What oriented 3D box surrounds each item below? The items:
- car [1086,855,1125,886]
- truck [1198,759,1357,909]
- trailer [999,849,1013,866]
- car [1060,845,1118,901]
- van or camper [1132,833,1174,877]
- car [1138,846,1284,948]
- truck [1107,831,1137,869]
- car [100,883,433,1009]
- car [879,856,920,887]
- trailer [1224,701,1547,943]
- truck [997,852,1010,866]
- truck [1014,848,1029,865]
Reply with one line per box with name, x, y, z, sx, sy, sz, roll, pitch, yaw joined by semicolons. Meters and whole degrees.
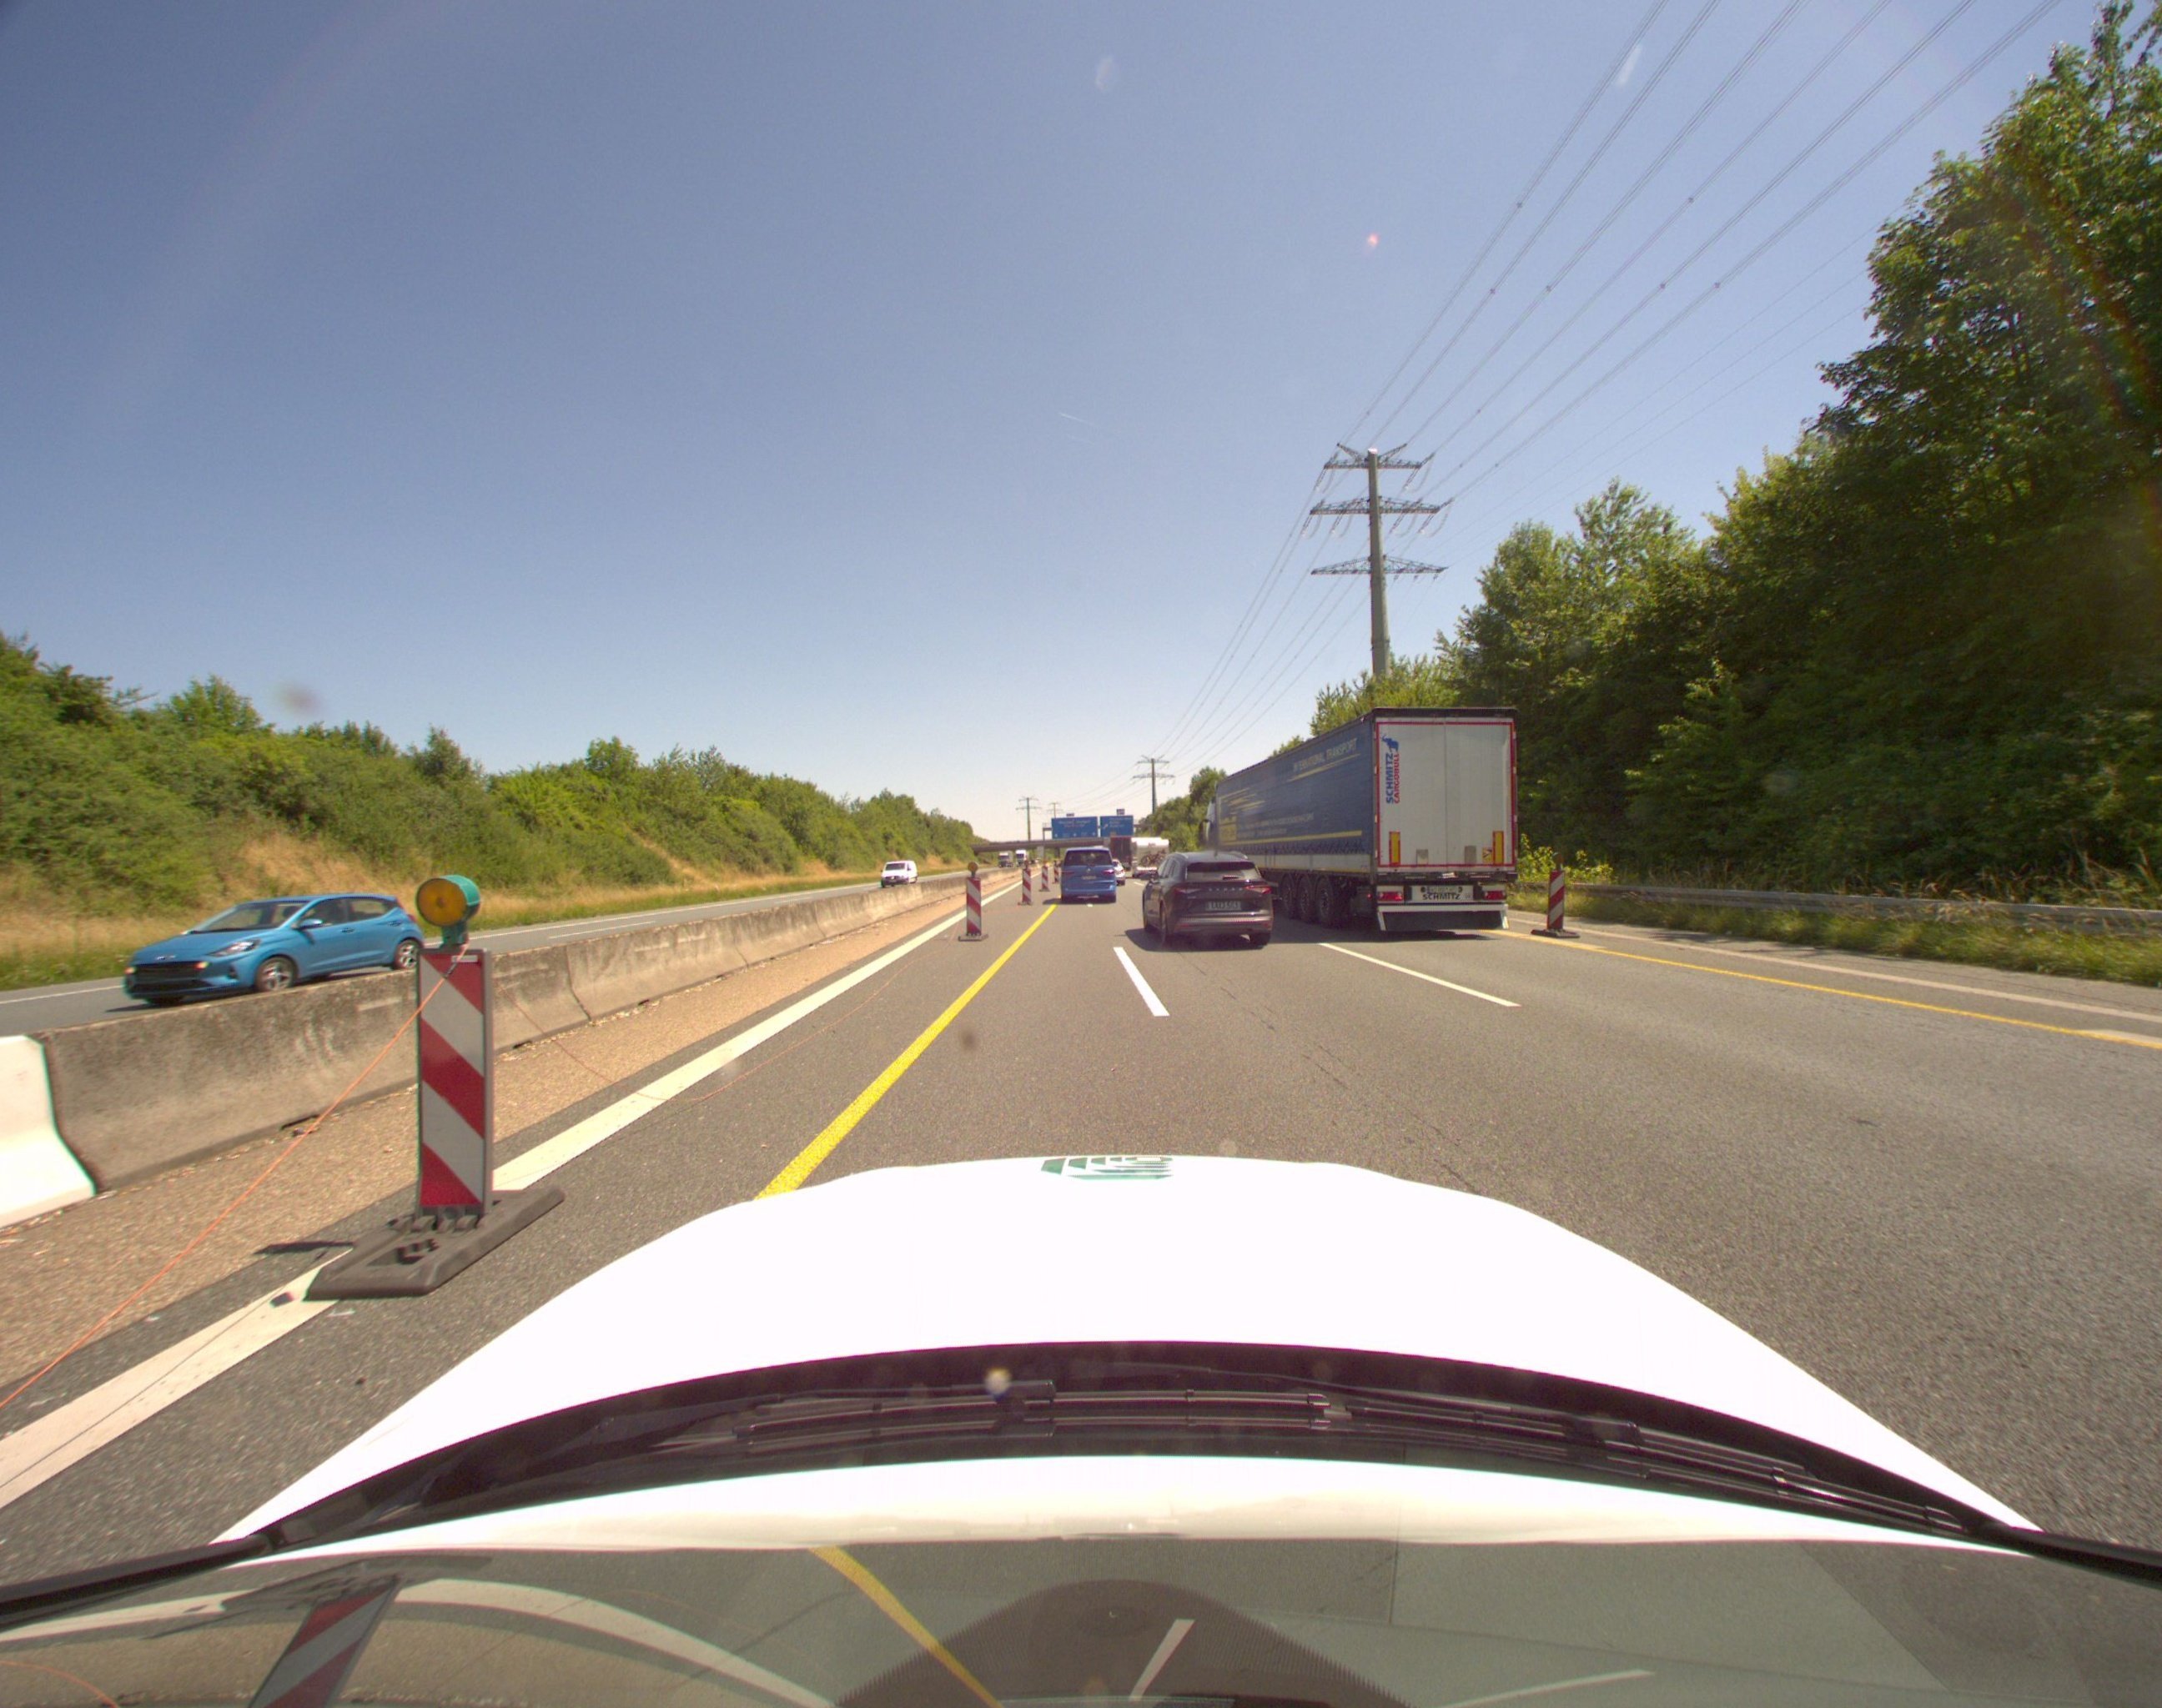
car;1.322;0.866;45.095;1.890;1.509;4.440;1;1;-1
truck;6.003;-0.555;26.420;3.017;4.087;7.789;-1;0;-2
trailer;-19.507;0.832;212.020;2.473;4.180;12.080;-2;0;-1
car;0.212;0.668;29.004;1.890;1.842;4.439;0;-1;-1
van or camper;5.206;0.080;60.031;2.578;2.968;6.084;-1;0;0
car;2.225;0.683;15.190;1.890;1.592;4.440;-1;0;-1
truck;4.693;-0.403;95.796;3.067;4.146;13.054;0;0;1
car;-12.925;1.365;13.288;1.885;1.517;3.476;-5;0;-3
car;-13.379;1.269;60.179;1.958;2.085;4.935;-2;0;-1
trailer;6.188;-0.530;19.548;3.057;4.042;11.478;-1;0;-2
truck;-19.386;1.325;204.307;2.457;3.288;6.921;-2;0;-1
truck;-15.262;0.575;209.657;3.153;4.224;7.416;-2;0;1
